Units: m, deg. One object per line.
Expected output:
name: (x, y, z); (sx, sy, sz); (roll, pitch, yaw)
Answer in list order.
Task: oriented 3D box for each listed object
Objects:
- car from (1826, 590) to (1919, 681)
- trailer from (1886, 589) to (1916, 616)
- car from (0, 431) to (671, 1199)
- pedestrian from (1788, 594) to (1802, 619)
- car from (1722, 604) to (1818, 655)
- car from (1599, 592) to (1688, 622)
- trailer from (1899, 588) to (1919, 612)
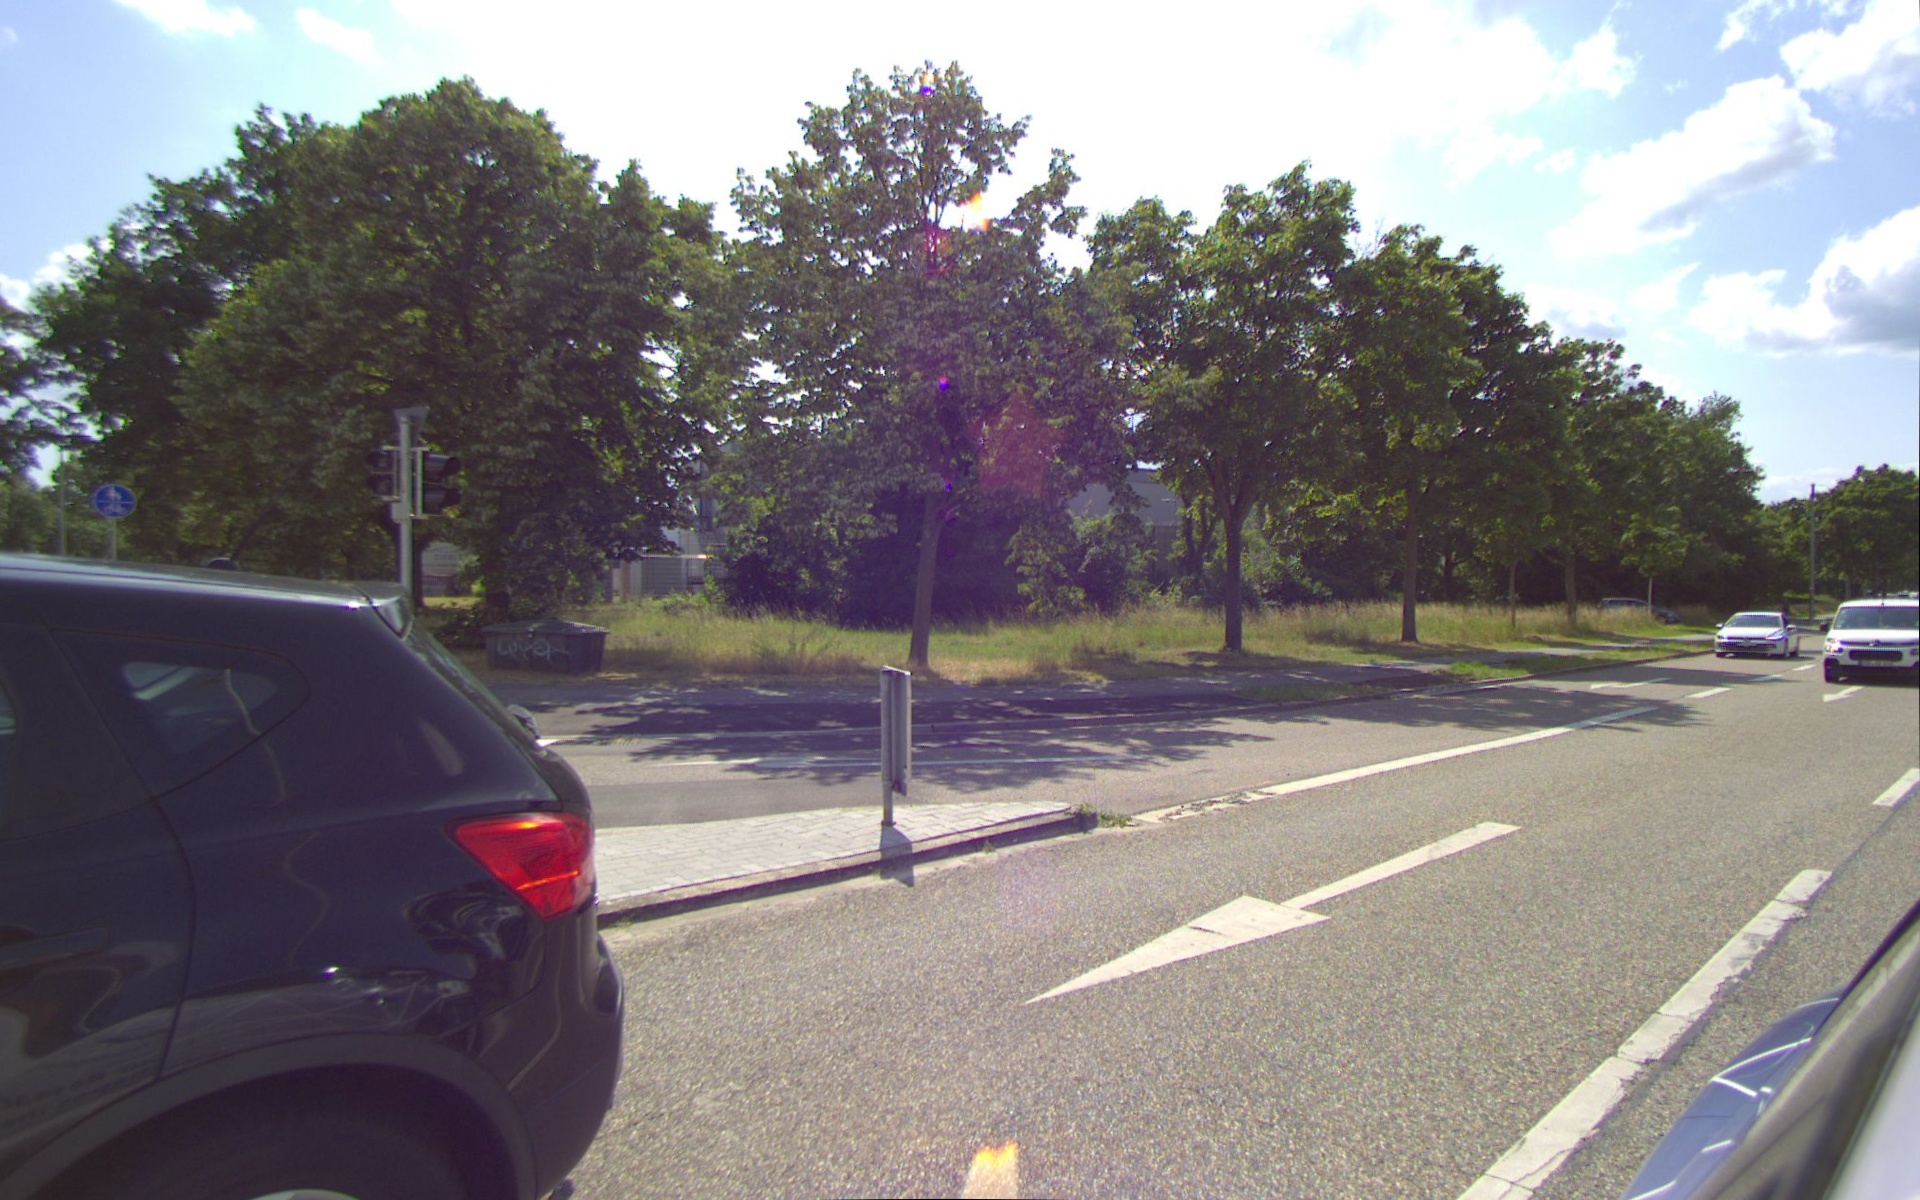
car: (20.376, 0.716, 21.925); (4.636, 1.808, 1.932); (0, -2, -43)
trailer: (86.995, 0.181, 93.556); (1.953, 2.381, 4.533); (2, 2, 44)
car: (-2.610, 0.601, 1.282); (3.932, 1.572, 1.801); (-1, -1, -43)
pedestrian: (62.657, 0.493, 75.921); (0.728, 1.817, 0.717); (-1, -1, -45)
car: (25.719, 0.894, 32.090); (4.021, 1.505, 1.735); (0, 0, -42)
car: (40.976, 0.392, 60.709); (4.162, 1.512, 1.757); (4, 1, 42)
trailer: (101.674, -0.007, 107.841); (4.704, 2.393, 1.996); (-1, 5, -45)
